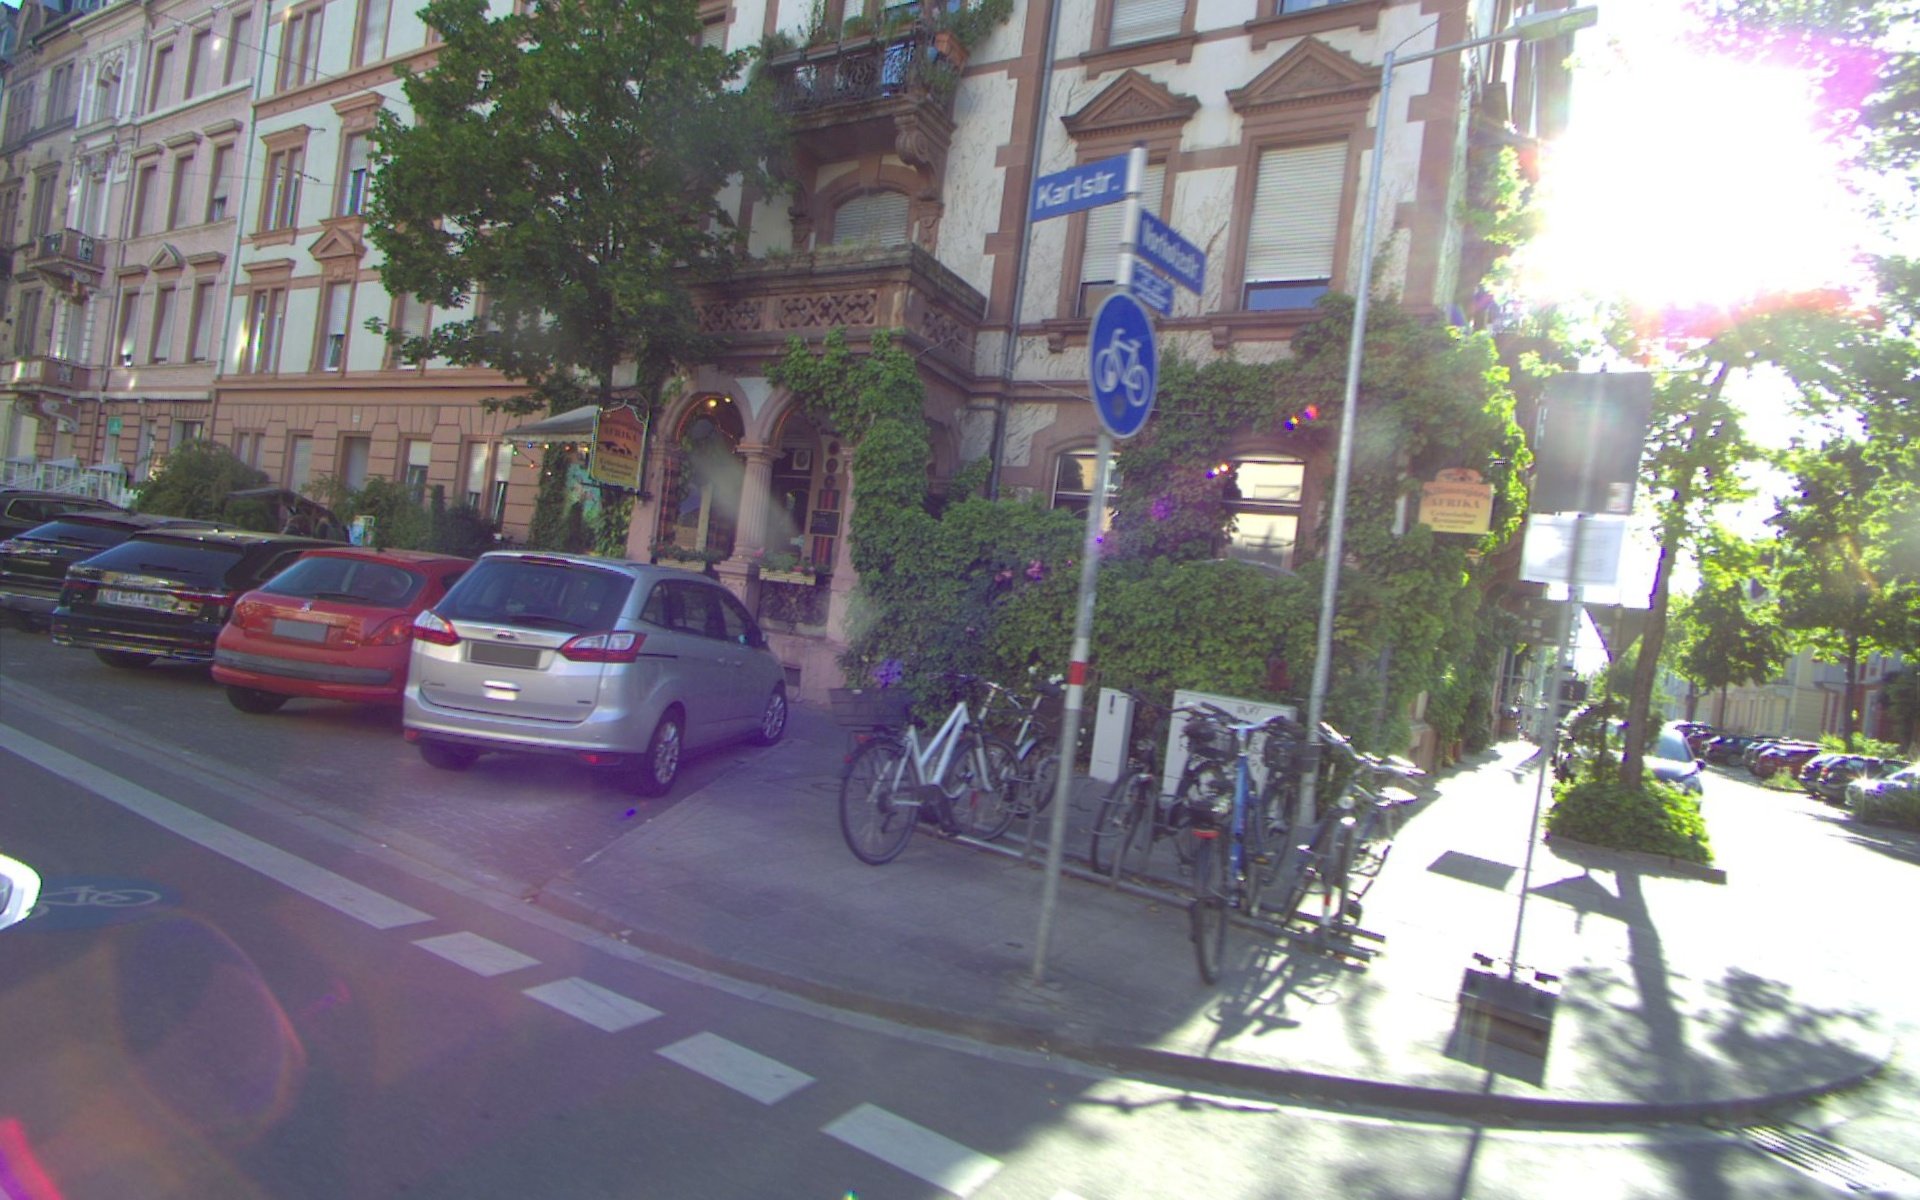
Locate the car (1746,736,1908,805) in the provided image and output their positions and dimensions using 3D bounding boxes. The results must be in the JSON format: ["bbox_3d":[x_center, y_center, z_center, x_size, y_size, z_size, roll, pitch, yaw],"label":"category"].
[{"bbox_3d":[30.894,6.049,35.981,3.882,1.650,1.774,7,-2,19],"label":"car"}]

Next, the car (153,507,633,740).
[{"bbox_3d":[-5.023,0.288,9.714,1.882,1.554,4.006,7,-2,7],"label":"car"}]

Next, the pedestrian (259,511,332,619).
[{"bbox_3d":[-11.061,-0.582,16.746,0.849,1.667,0.519,7,-1,32],"label":"pedestrian"}]

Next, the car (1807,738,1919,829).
[{"bbox_3d":[23.226,4.563,24.170,3.882,1.815,1.774,7,-2,20],"label":"car"}]

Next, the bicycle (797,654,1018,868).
[{"bbox_3d":[-0.261,0.972,6.184,0.290,1.140,1.561,7,-2,37],"label":"bicycle"}]

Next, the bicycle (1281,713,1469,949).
[{"bbox_3d":[2.512,1.303,5.981,0.543,1.140,1.557,6,-2,37],"label":"bicycle"}]

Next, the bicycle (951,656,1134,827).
[{"bbox_3d":[0.683,1.089,7.807,0.543,1.140,1.557,6,-2,37],"label":"bicycle"}]

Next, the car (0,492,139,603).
[{"bbox_3d":[-16.001,-0.998,16.084,2.048,1.614,4.006,7,-2,7],"label":"car"}]

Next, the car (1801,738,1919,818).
[{"bbox_3d":[26.785,5.185,28.611,3.882,1.815,1.774,7,-2,19],"label":"car"}]

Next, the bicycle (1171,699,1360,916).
[{"bbox_3d":[1.978,1.262,6.373,0.520,1.140,1.557,6,-2,37],"label":"bicycle"}]

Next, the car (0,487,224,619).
[{"bbox_3d":[-13.605,-0.734,14.970,1.922,1.614,4.006,7,-2,7],"label":"car"}]

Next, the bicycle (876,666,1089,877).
[{"bbox_3d":[0.193,1.008,6.047,0.302,1.091,1.557,7,-2,37],"label":"bicycle"}]

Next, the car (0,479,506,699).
[{"bbox_3d":[-7.172,0.024,10.759,2.049,1.614,4.455,7,-2,7],"label":"car"}]

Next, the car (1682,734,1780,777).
[{"bbox_3d":[42.170,8.492,55.113,3.889,1.650,1.772,7,-2,29],"label":"car"}]

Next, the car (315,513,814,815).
[{"bbox_3d":[-2.765,0.506,8.339,1.818,1.614,4.372,7,-2,7],"label":"car"}]

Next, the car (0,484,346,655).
[{"bbox_3d":[-9.987,-0.296,12.687,2.010,1.614,4.331,8,-2,-6],"label":"car"}]

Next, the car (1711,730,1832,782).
[{"bbox_3d":[36.900,7.057,45.885,3.889,1.650,1.772,7,-2,29],"label":"car"}]

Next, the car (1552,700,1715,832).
[{"bbox_3d":[10.006,2.406,15.149,1.684,1.469,3.995,6,-3,32],"label":"car"}]

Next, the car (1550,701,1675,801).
[{"bbox_3d":[12.398,2.832,19.256,1.684,1.469,3.995,6,-3,32],"label":"car"}]

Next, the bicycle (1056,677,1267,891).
[{"bbox_3d":[1.356,1.147,6.496,0.543,1.140,1.676,6,-2,37],"label":"bicycle"}]

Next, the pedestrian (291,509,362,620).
[{"bbox_3d":[-10.959,-0.619,17.398,0.849,1.798,0.519,7,-1,32],"label":"pedestrian"}]

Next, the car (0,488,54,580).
[{"bbox_3d":[-18.584,-1.420,17.309,1.946,1.614,4.320,8,-2,-1],"label":"car"}]

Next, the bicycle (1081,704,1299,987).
[{"bbox_3d":[1.211,1.147,5.074,0.542,1.140,1.400,7,-2,31],"label":"bicycle"}]
